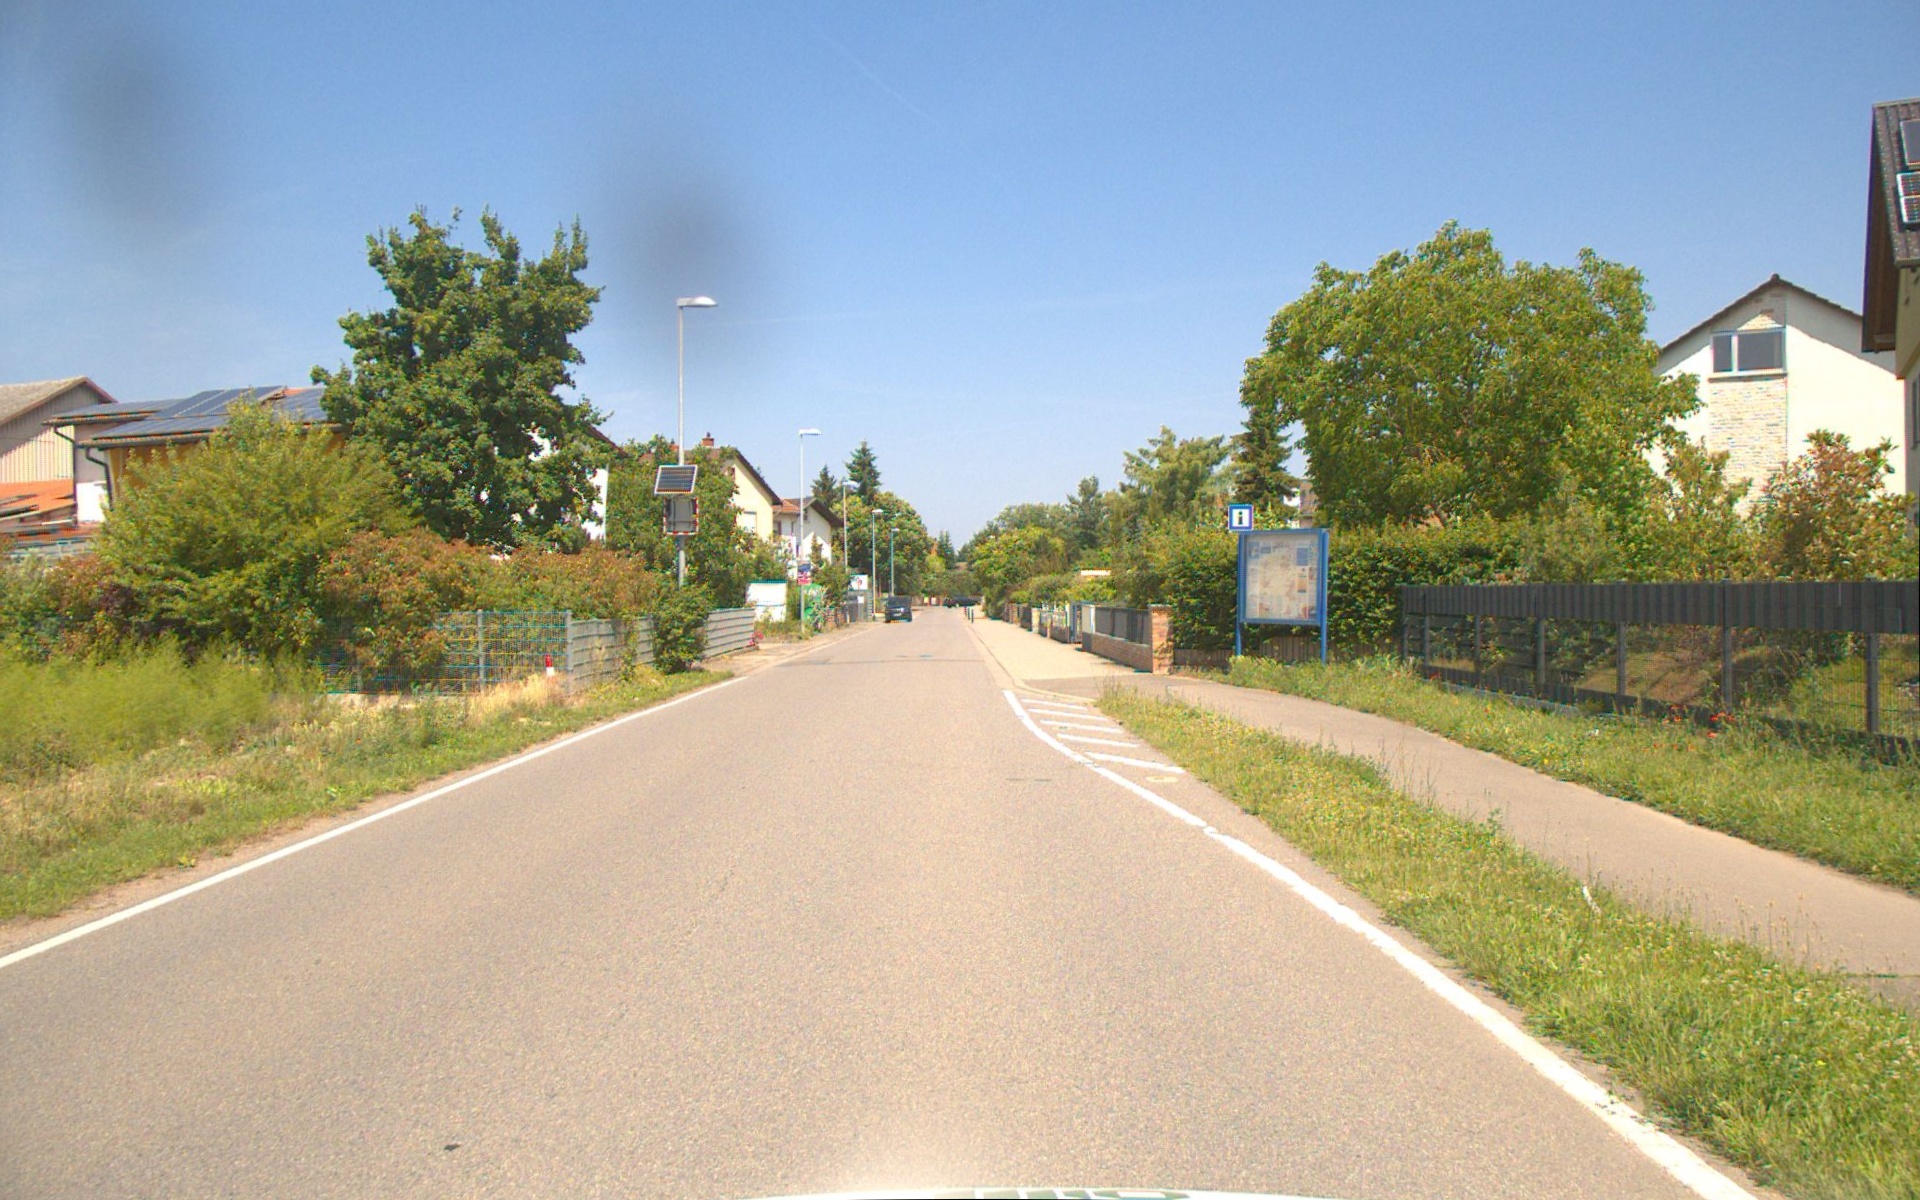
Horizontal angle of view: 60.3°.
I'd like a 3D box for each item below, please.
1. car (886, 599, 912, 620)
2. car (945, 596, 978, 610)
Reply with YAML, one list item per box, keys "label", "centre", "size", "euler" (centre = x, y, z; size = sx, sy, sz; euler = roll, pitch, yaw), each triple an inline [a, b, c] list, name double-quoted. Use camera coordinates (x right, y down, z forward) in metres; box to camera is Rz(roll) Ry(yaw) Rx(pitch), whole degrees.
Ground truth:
- label: "car"
  centre: [-4.226, 0.643, 114.587]
  size: [1.723, 1.409, 3.452]
  euler: [-2, 0, -1]
- label: "car"
  centre: [0.194, 0.359, 192.218]
  size: [3.815, 1.421, 1.582]
  euler: [-2, 0, -1]
